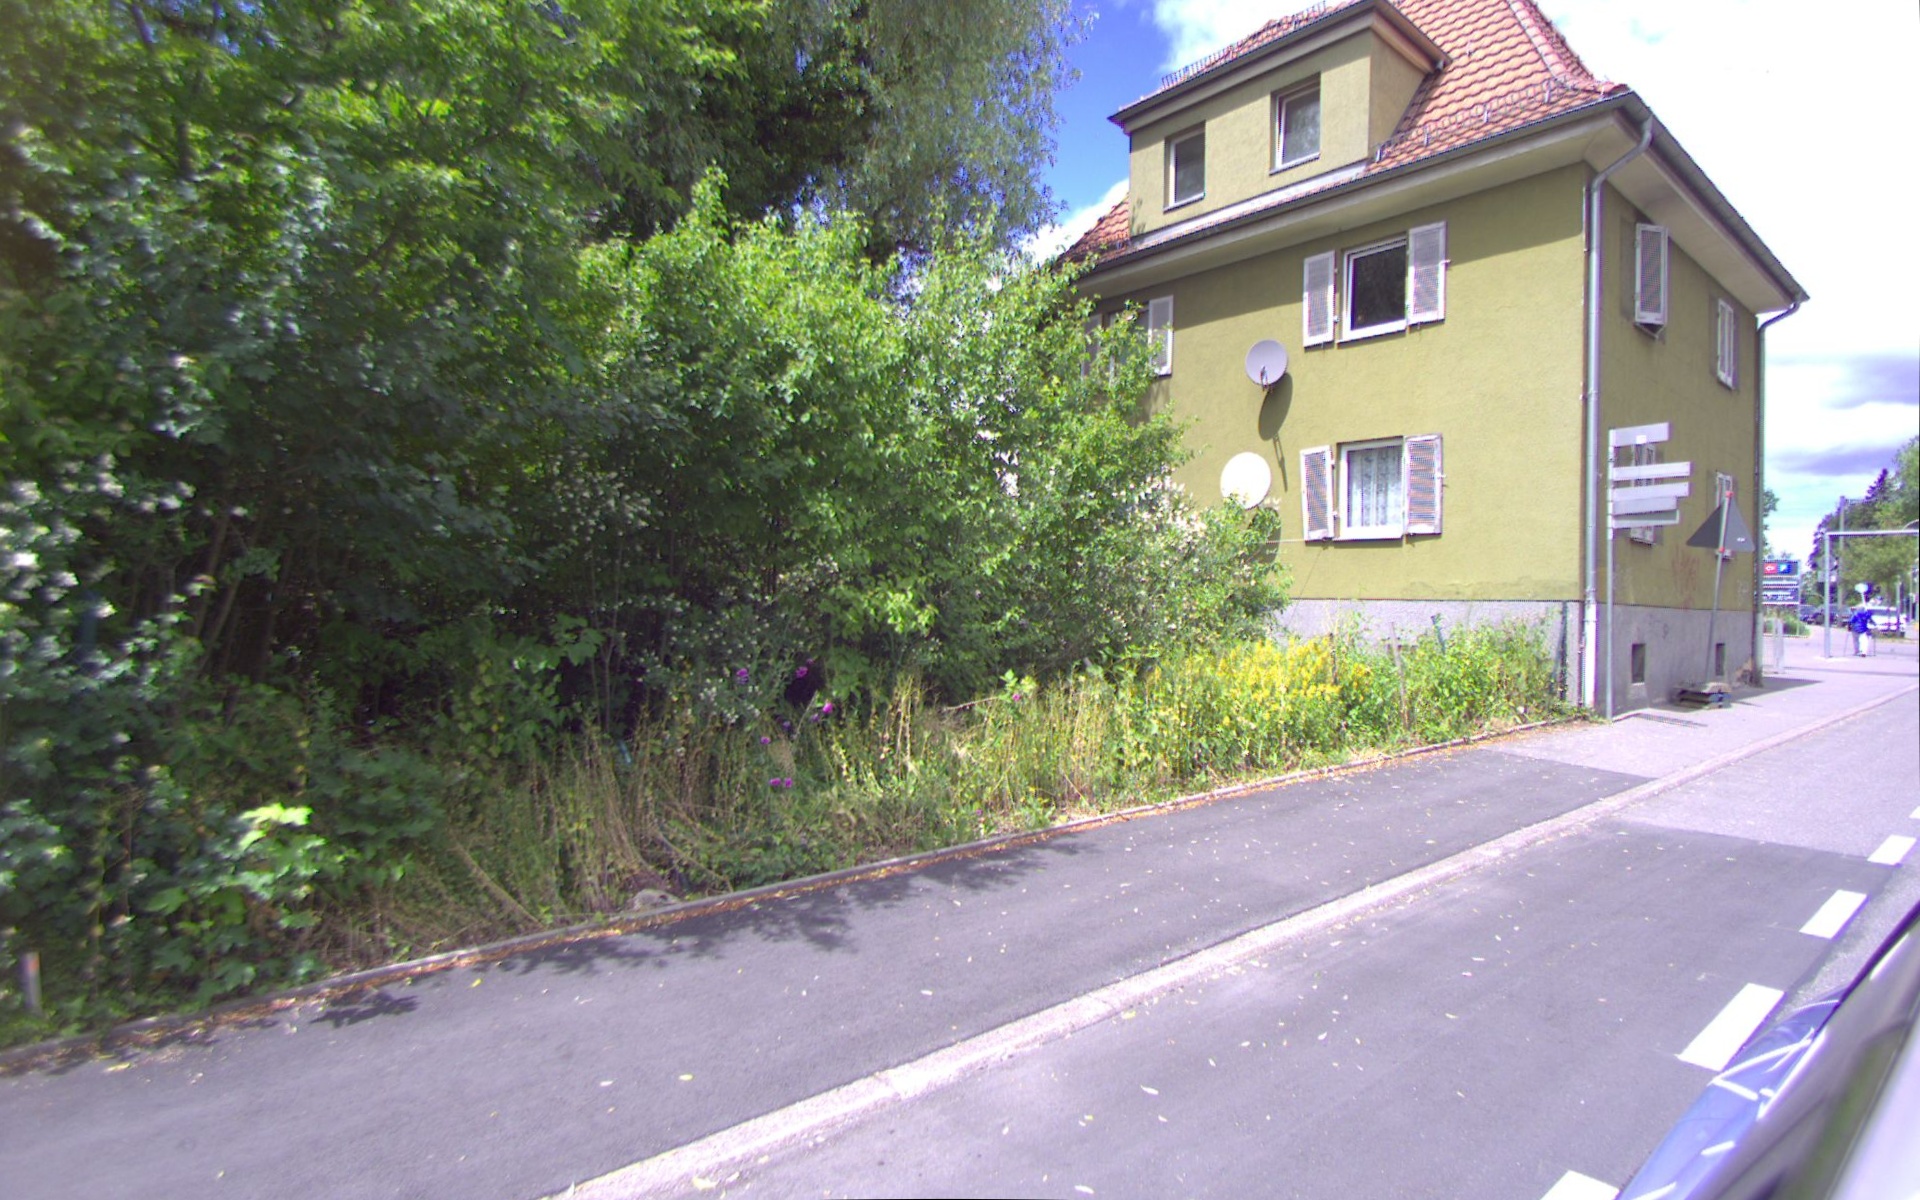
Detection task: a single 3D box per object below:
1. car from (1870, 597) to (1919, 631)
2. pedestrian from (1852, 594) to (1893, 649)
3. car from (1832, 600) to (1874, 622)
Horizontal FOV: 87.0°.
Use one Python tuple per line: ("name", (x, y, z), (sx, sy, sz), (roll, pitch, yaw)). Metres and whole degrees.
("car", (47.492, 0.686, 51.330), (1.788, 1.549, 3.864), (4, 2, 40))
("pedestrian", (26.981, 0.615, 29.927), (0.824, 1.592, 0.972), (2, 1, 45))
("car", (64.970, 0.765, 73.679), (1.694, 1.551, 3.951), (-1, -1, 34))
